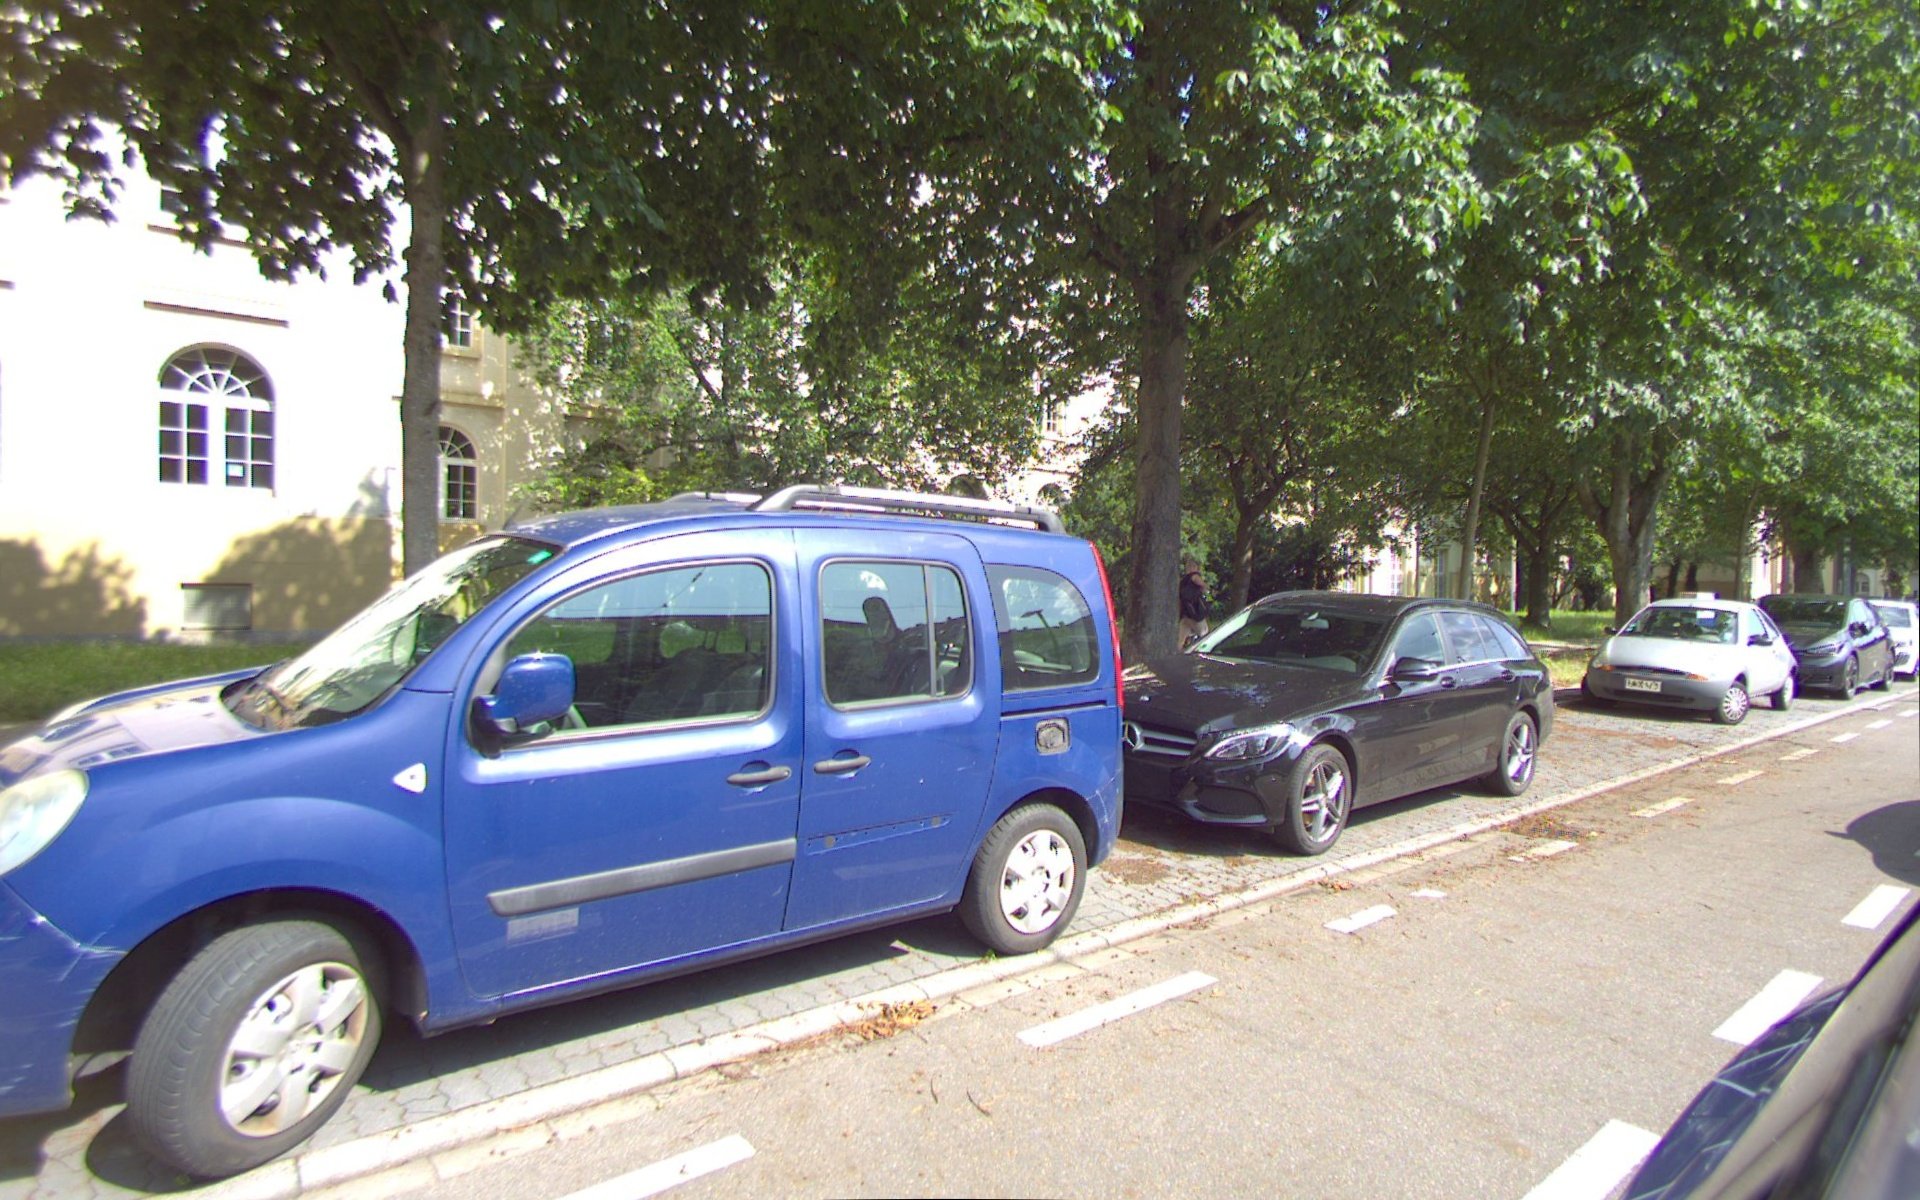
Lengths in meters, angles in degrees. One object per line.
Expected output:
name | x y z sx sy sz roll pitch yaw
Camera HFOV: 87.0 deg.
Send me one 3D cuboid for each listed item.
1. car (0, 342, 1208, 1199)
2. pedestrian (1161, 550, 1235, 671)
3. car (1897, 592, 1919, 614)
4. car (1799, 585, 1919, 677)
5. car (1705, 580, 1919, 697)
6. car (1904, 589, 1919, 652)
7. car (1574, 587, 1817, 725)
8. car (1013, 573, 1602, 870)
car | -1.117 0.394 3.956 4.106 1.919 1.828 1 2 -37
pedestrian | 3.495 0.134 14.884 0.752 1.717 0.747 0 1 -32
car | 77.691 0.233 80.154 1.820 1.676 4.843 -1 2 -28
car | 18.088 0.532 19.834 4.179 1.542 1.839 0 4 -41
car | 13.845 0.526 16.334 4.591 1.603 1.730 0 2 -38
car | 24.816 0.527 25.158 3.497 1.478 1.559 -1 5 -41
car | 9.498 0.603 12.991 3.532 1.462 1.595 0 3 -38
car | 2.793 0.620 7.495 4.711 1.459 1.922 0 3 -40
